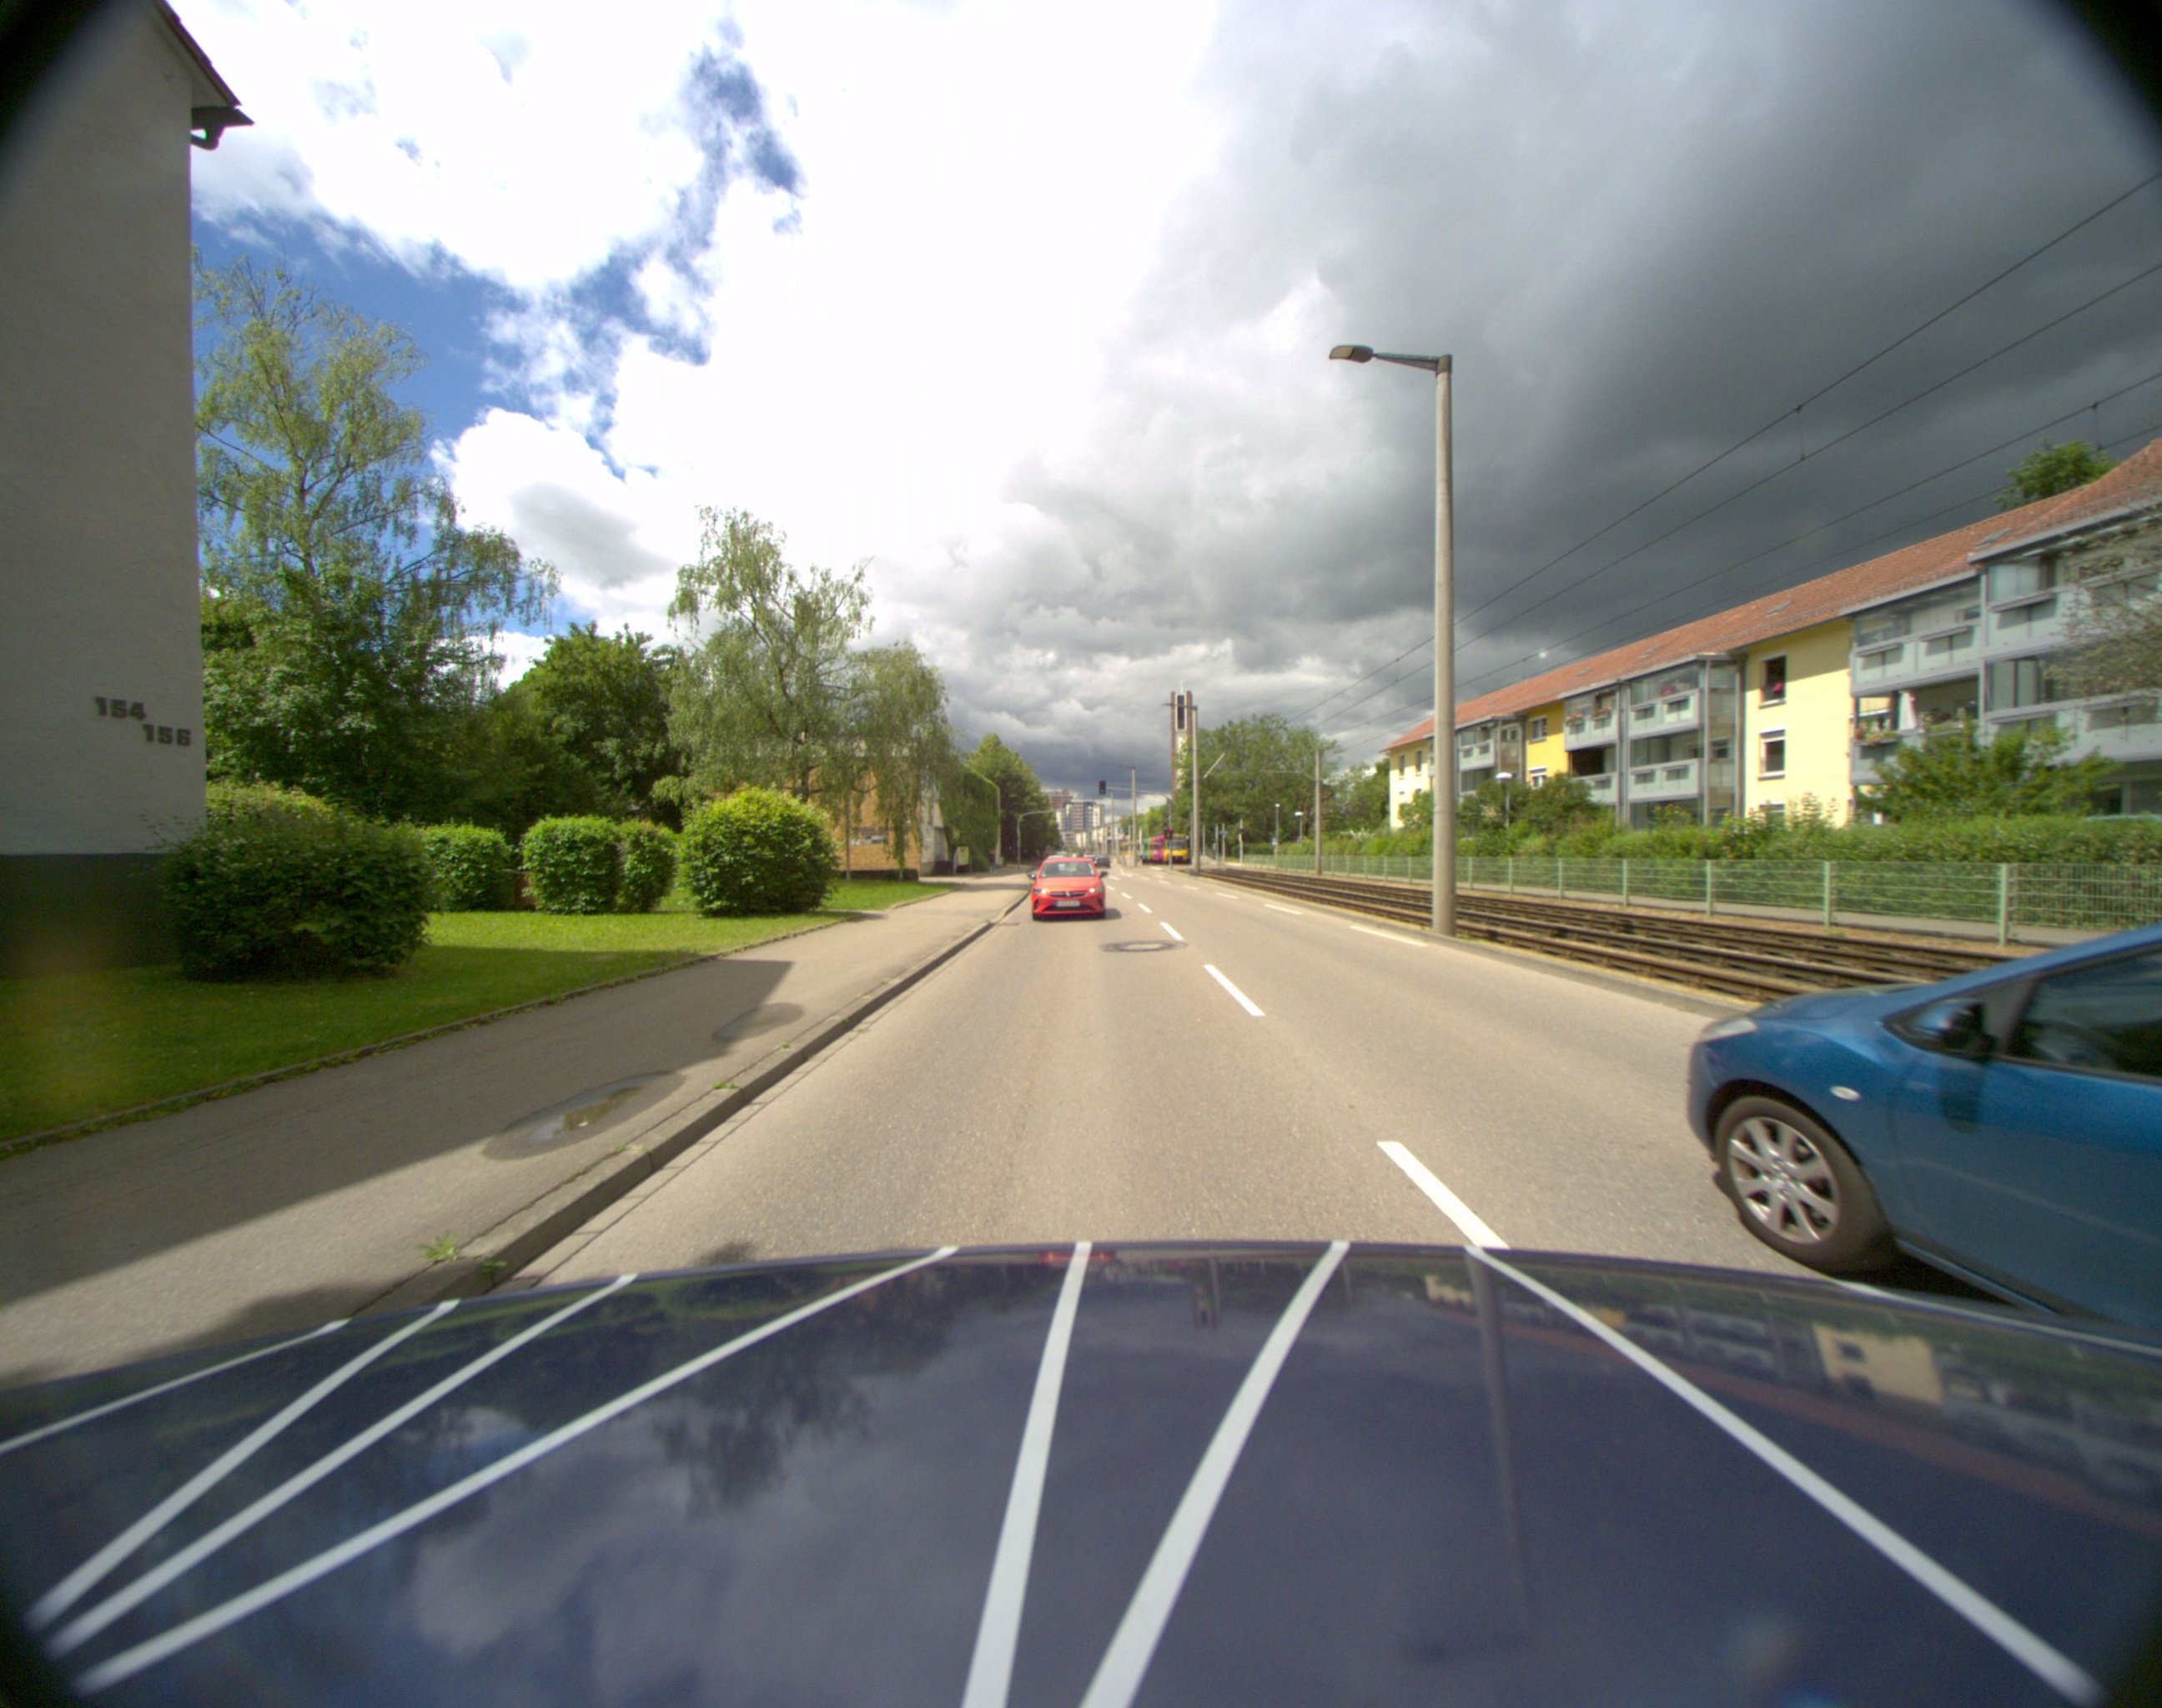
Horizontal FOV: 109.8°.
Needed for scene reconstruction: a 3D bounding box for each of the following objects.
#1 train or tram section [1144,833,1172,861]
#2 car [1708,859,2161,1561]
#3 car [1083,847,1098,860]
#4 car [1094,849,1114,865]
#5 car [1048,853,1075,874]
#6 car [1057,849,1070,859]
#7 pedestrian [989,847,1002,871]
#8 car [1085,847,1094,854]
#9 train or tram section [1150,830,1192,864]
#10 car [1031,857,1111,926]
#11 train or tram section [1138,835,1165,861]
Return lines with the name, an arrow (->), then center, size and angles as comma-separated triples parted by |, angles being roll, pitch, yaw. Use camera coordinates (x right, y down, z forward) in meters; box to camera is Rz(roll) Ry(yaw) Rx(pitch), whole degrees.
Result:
train or tram section -> 11.114, -1.019, 110.657 | 2.988, 3.840, 8.376 | -2, 1, 0
car -> 3.208, 0.811, 1.124 | 1.627, 1.516, 3.581 | -1, 1, 1
car -> 1.194, -0.112, 96.935 | 1.765, 1.543, 3.999 | -2, 1, -3
car -> 2.284, 0.280, 76.020 | 1.633, 1.424, 4.166 | -2, 0, -3
car -> -1.362, 0.665, 55.296 | 1.756, 1.433, 4.226 | -1, 1, 1
car -> -2.743, -0.074, 116.576 | 1.821, 1.433, 4.007 | -1, 1, -2
pedestrian -> -6.277, 0.342, 55.872 | 0.811, 1.761, 0.817 | 2, 1, 6
car -> 1.918, -0.704, 168.396 | 1.722, 1.433, 4.008 | -1, 1, -1
train or tram section -> 11.225, -0.908, 97.151 | 2.988, 3.840, 18.534 | -2, 1, 0
car -> -0.175, 0.833, 19.025 | 1.756, 1.433, 4.226 | -1, 1, 1
train or tram section -> 11.070, -1.008, 120.554 | 2.988, 3.840, 11.784 | -2, 1, 0
